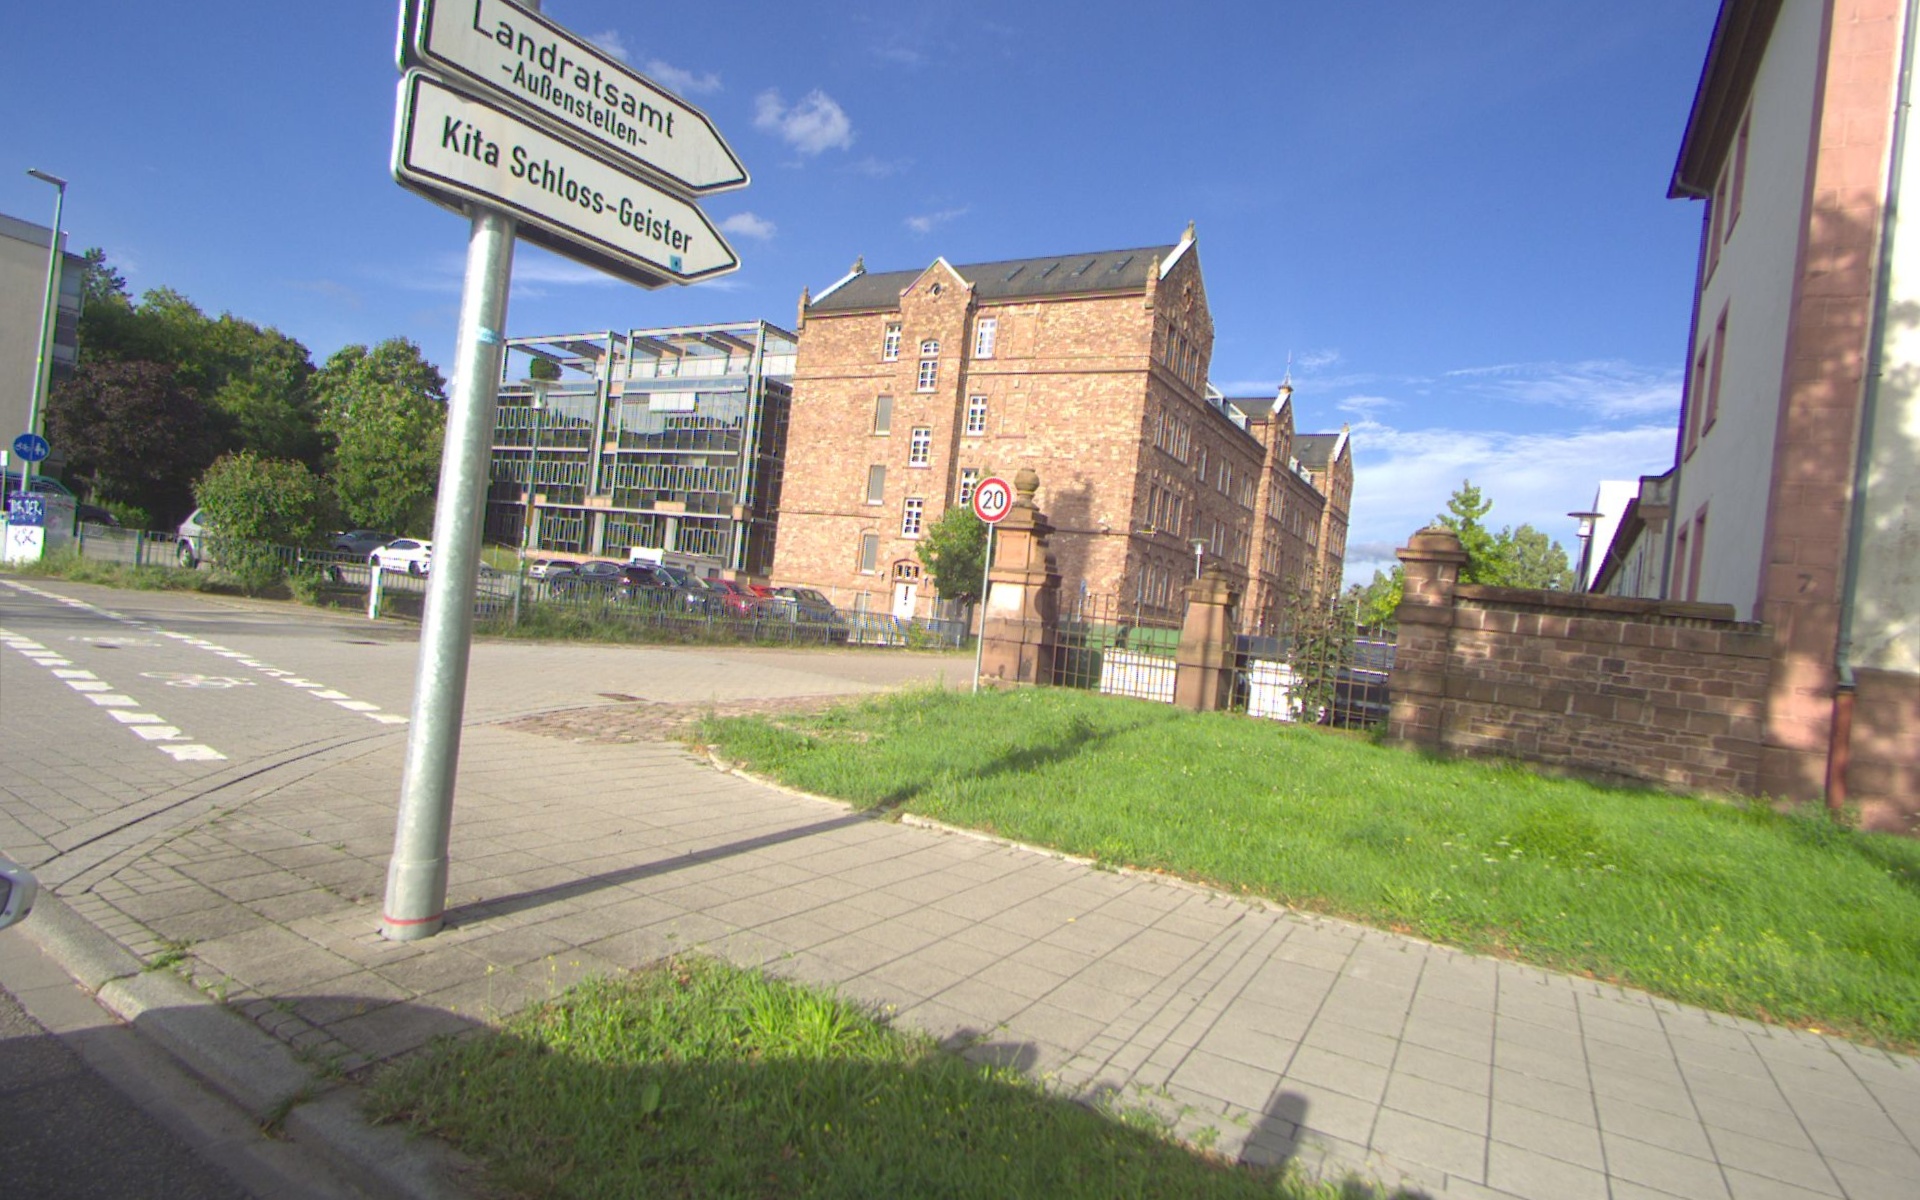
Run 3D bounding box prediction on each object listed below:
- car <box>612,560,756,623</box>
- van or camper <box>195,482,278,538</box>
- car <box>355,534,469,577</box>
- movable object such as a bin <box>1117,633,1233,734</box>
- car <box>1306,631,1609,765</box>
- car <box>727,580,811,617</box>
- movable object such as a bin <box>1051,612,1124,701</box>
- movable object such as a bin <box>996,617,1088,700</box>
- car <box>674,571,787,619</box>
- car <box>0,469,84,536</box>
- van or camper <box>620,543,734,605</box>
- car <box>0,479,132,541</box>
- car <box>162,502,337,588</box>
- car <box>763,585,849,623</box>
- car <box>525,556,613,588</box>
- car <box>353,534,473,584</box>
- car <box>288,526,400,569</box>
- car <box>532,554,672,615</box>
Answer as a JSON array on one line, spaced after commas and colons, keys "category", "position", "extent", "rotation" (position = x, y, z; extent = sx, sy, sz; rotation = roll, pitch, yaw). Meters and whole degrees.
[{"category": "car", "position": [-9.760, -0.298, 35.487], "extent": [4.717, 1.766, 1.854], "rotation": [5, 1, 25]}, {"category": "van or camper", "position": [-44.251, -5.503, 61.477], "extent": [5.037, 2.913, 2.329], "rotation": [6, 2, 32]}, {"category": "car", "position": [-24.646, -1.980, 45.381], "extent": [1.969, 1.325, 3.991], "rotation": [5, -2, 35]}, {"category": "movable object such as a bin", "position": [3.704, 1.417, 17.258], "extent": [1.517, 1.477, 1.417], "rotation": [6, -1, 26]}, {"category": "car", "position": [8.653, 1.613, 17.657], "extent": [4.431, 1.628, 1.994], "rotation": [6, 1, 33]}, {"category": "car", "position": [-9.524, -0.037, 50.433], "extent": [1.966, 1.460, 3.992], "rotation": [6, 0, 30]}, {"category": "movable object such as a bin", "position": [2.270, 1.004, 17.873], "extent": [0.926, 1.440, 0.832], "rotation": [6, 0, 26]}, {"category": "movable object such as a bin", "position": [1.410, 0.992, 17.131], "extent": [1.074, 1.246, 1.193], "rotation": [6, -1, 26]}, {"category": "car", "position": [-8.788, -0.182, 38.446], "extent": [3.888, 1.281, 1.713], "rotation": [8, 2, 25]}, {"category": "car", "position": [-36.885, -3.883, 38.841], "extent": [1.968, 2.213, 4.122], "rotation": [6, 0, 33]}, {"category": "van or camper", "position": [-14.454, -1.282, 51.791], "extent": [2.551, 2.588, 5.248], "rotation": [6, 0, 28]}, {"category": "car", "position": [-31.259, -3.110, 34.115], "extent": [1.968, 1.642, 4.451], "rotation": [6, 0, 33]}, {"category": "car", "position": [-17.804, -1.389, 25.184], "extent": [4.082, 1.687, 1.996], "rotation": [6, 0, 31]}, {"category": "car", "position": [-7.423, 0.218, 48.926], "extent": [1.966, 1.460, 3.992], "rotation": [6, 0, 30]}, {"category": "car", "position": [-22.205, -1.577, 57.270], "extent": [1.783, 1.397, 4.314], "rotation": [6, 1, 38]}, {"category": "car", "position": [-21.155, -1.594, 38.938], "extent": [3.927, 1.460, 1.999], "rotation": [6, 0, 23]}, {"category": "car", "position": [-28.992, -2.448, 47.468], "extent": [1.966, 1.504, 3.993], "rotation": [6, 0, 29]}, {"category": "car", "position": [-11.981, -0.521, 33.607], "extent": [4.530, 1.609, 1.852], "rotation": [5, 1, 31]}]
